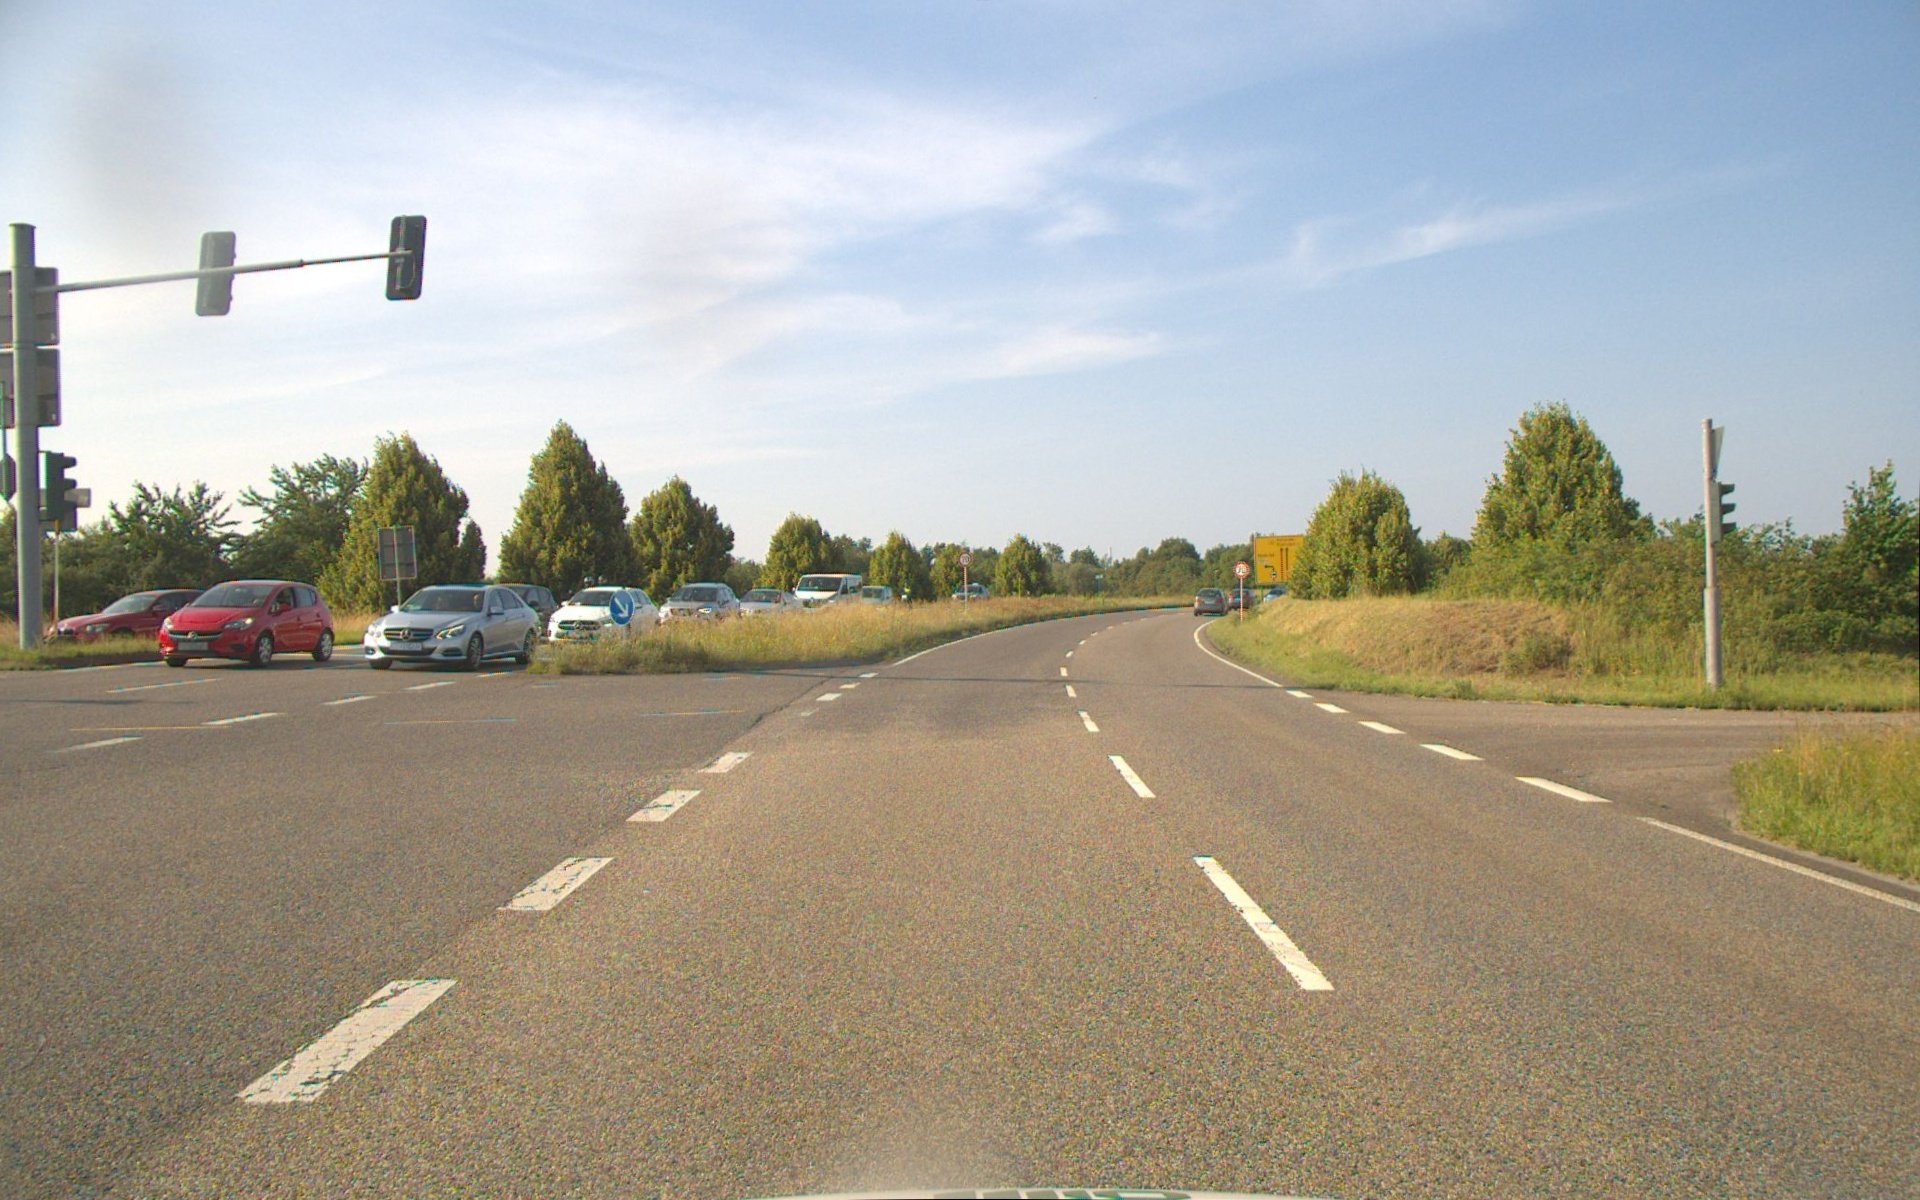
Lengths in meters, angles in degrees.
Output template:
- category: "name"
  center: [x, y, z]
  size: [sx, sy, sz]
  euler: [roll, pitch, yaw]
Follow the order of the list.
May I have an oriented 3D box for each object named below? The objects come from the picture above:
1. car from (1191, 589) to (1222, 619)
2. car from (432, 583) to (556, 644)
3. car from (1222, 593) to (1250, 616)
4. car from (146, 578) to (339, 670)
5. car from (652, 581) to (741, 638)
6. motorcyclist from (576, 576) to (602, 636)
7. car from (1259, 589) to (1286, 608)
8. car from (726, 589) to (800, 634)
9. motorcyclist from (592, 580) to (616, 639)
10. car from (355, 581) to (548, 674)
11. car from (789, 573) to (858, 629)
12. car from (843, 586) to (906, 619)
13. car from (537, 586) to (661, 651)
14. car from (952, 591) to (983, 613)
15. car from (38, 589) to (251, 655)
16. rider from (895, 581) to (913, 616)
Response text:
- category: "car"
  center: [14.415, 0.251, 96.762]
  size: [1.746, 1.633, 4.199]
  euler: [0, -1, 8]
- category: "car"
  center: [-11.705, 0.318, 41.813]
  size: [1.748, 1.458, 4.053]
  euler: [-1, 0, 4]
- category: "car"
  center: [19.295, 0.324, 115.544]
  size: [1.771, 1.593, 4.535]
  euler: [0, 0, 12]
- category: "car"
  center: [-12.627, 0.390, 29.372]
  size: [1.685, 1.514, 3.805]
  euler: [-1, 0, 1]
- category: "car"
  center: [-7.703, 0.269, 48.698]
  size: [1.748, 1.596, 4.053]
  euler: [-1, 0, 4]
- category: "motorcyclist"
  center: [-10.969, 0.175, 48.899]
  size: [0.649, 1.778, 0.605]
  euler: [0, 0, -4]
- category: "car"
  center: [25.201, -0.123, 133.426]
  size: [1.735, 1.518, 3.987]
  euler: [0, 0, 17]
- category: "car"
  center: [-6.523, 0.360, 55.214]
  size: [1.748, 1.410, 4.053]
  euler: [-1, 0, 4]
- category: "motorcyclist"
  center: [-11.237, 0.283, 52.239]
  size: [0.649, 1.849, 0.605]
  euler: [0, 0, -4]
- category: "car"
  center: [-8.935, 0.443, 29.500]
  size: [1.748, 1.514, 4.653]
  euler: [-1, 0, 4]
- category: "car"
  center: [-5.323, 0.042, 64.976]
  size: [1.884, 2.114, 4.246]
  euler: [-1, 0, 7]
- category: "car"
  center: [-3.760, 0.118, 73.637]
  size: [1.748, 1.410, 4.055]
  euler: [-1, 0, 13]
- category: "car"
  center: [-8.485, 0.412, 39.235]
  size: [1.748, 1.458, 4.311]
  euler: [-1, 0, 4]
- category: "car"
  center: [0.491, 0.127, 108.812]
  size: [1.375, 1.426, 3.425]
  euler: [-1, 0, 12]
- category: "car"
  center: [-17.841, 0.451, 36.399]
  size: [1.625, 1.350, 4.213]
  euler: [0, 0, 22]
- category: "rider"
  center: [-3.310, -0.082, 97.275]
  size: [0.849, 2.049, 0.772]
  euler: [0, 0, 15]
